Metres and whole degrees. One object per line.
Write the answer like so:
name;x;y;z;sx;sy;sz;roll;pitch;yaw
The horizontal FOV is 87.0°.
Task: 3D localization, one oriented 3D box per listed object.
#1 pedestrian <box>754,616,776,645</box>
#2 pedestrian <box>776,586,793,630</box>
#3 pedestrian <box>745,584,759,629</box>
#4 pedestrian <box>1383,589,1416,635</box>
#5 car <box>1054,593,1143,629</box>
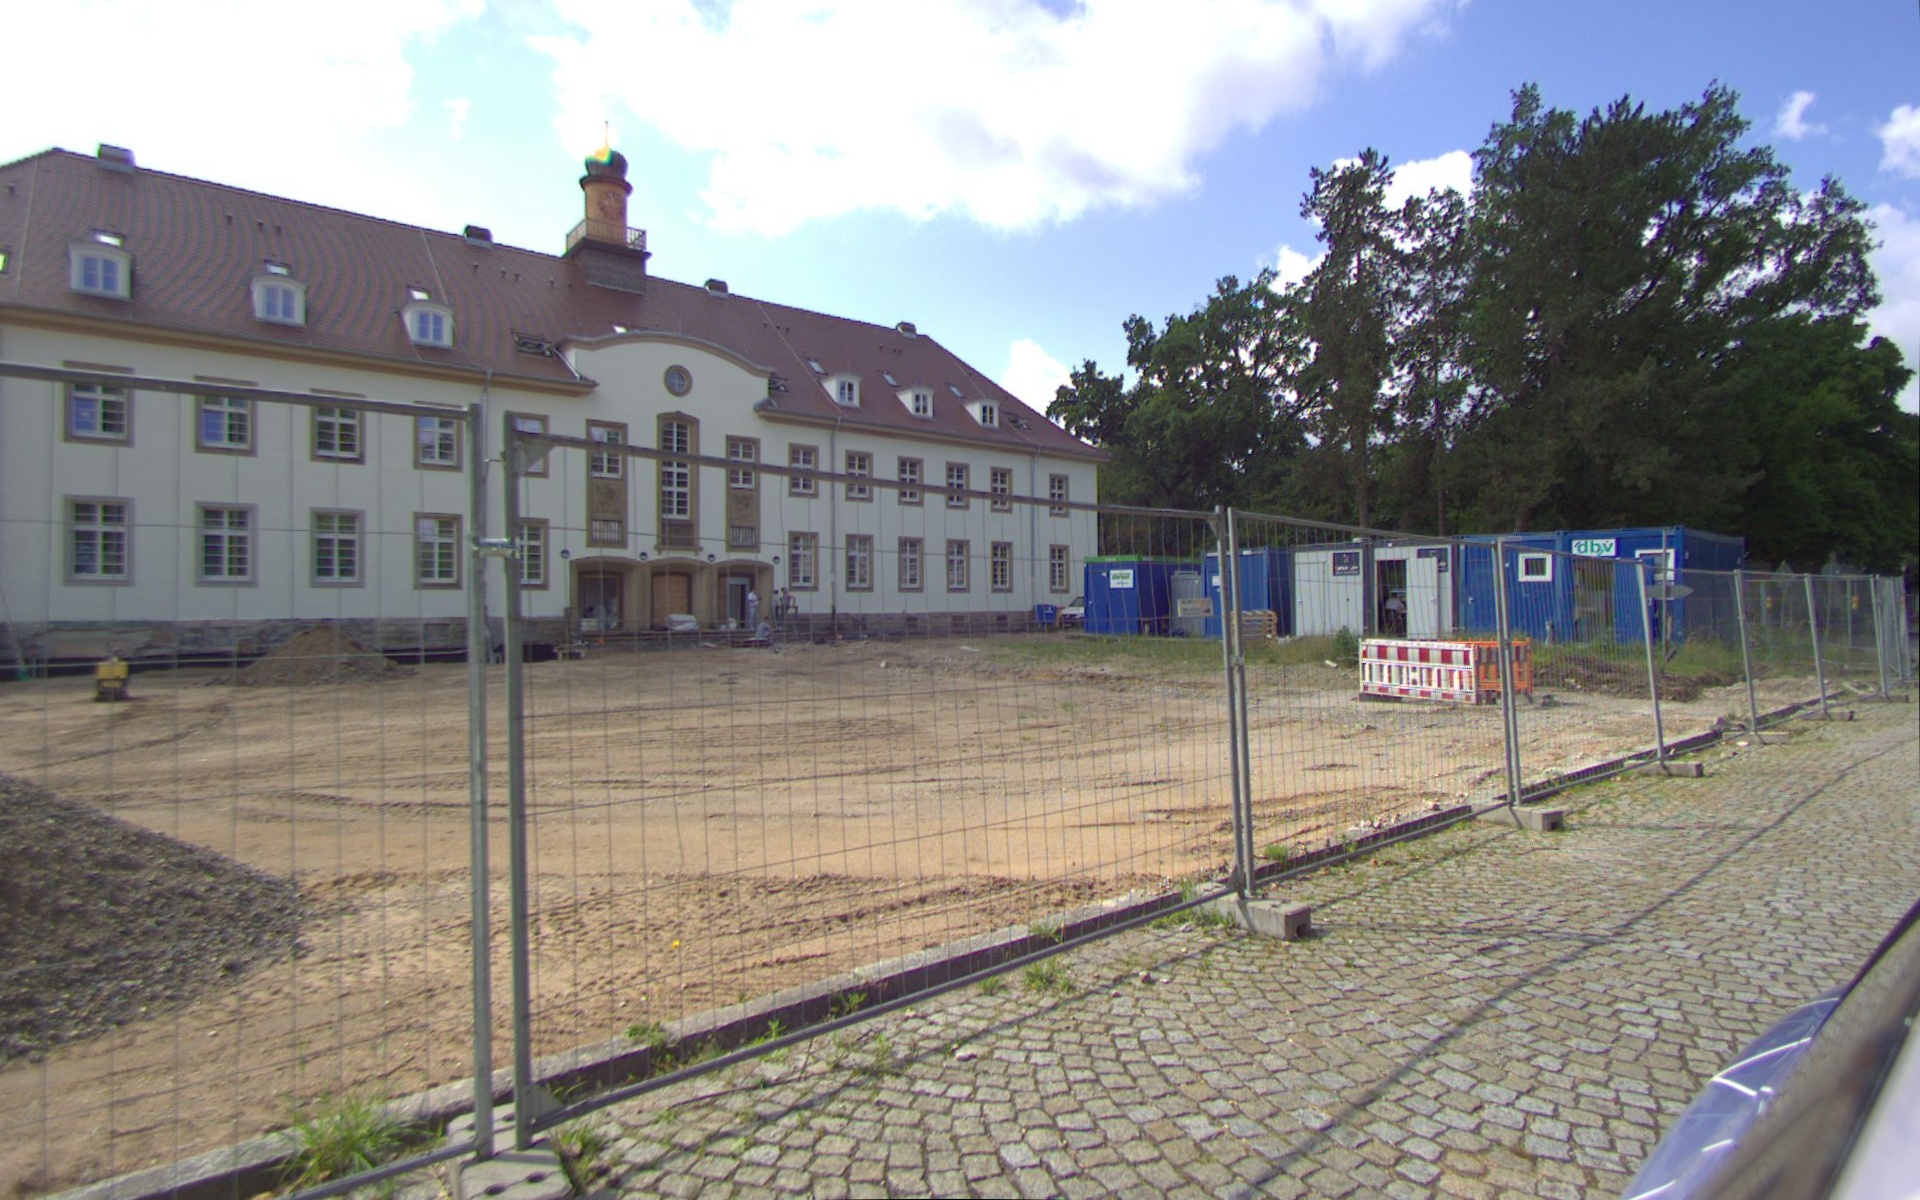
pedestrian;-7.588;1.175;39.363;0.697;1.128;0.490;0;-1;-42
pedestrian;-7.221;0.327;41.551;0.498;1.811;0.490;1;-2;-43
pedestrian;-8.377;0.268;40.705;0.496;1.811;0.492;0;-1;-17
pedestrian;12.218;0.345;28.126;0.671;1.259;0.602;0;-1;-41
car;7.094;0.521;51.668;4.623;1.750;1.884;0;0;-39
